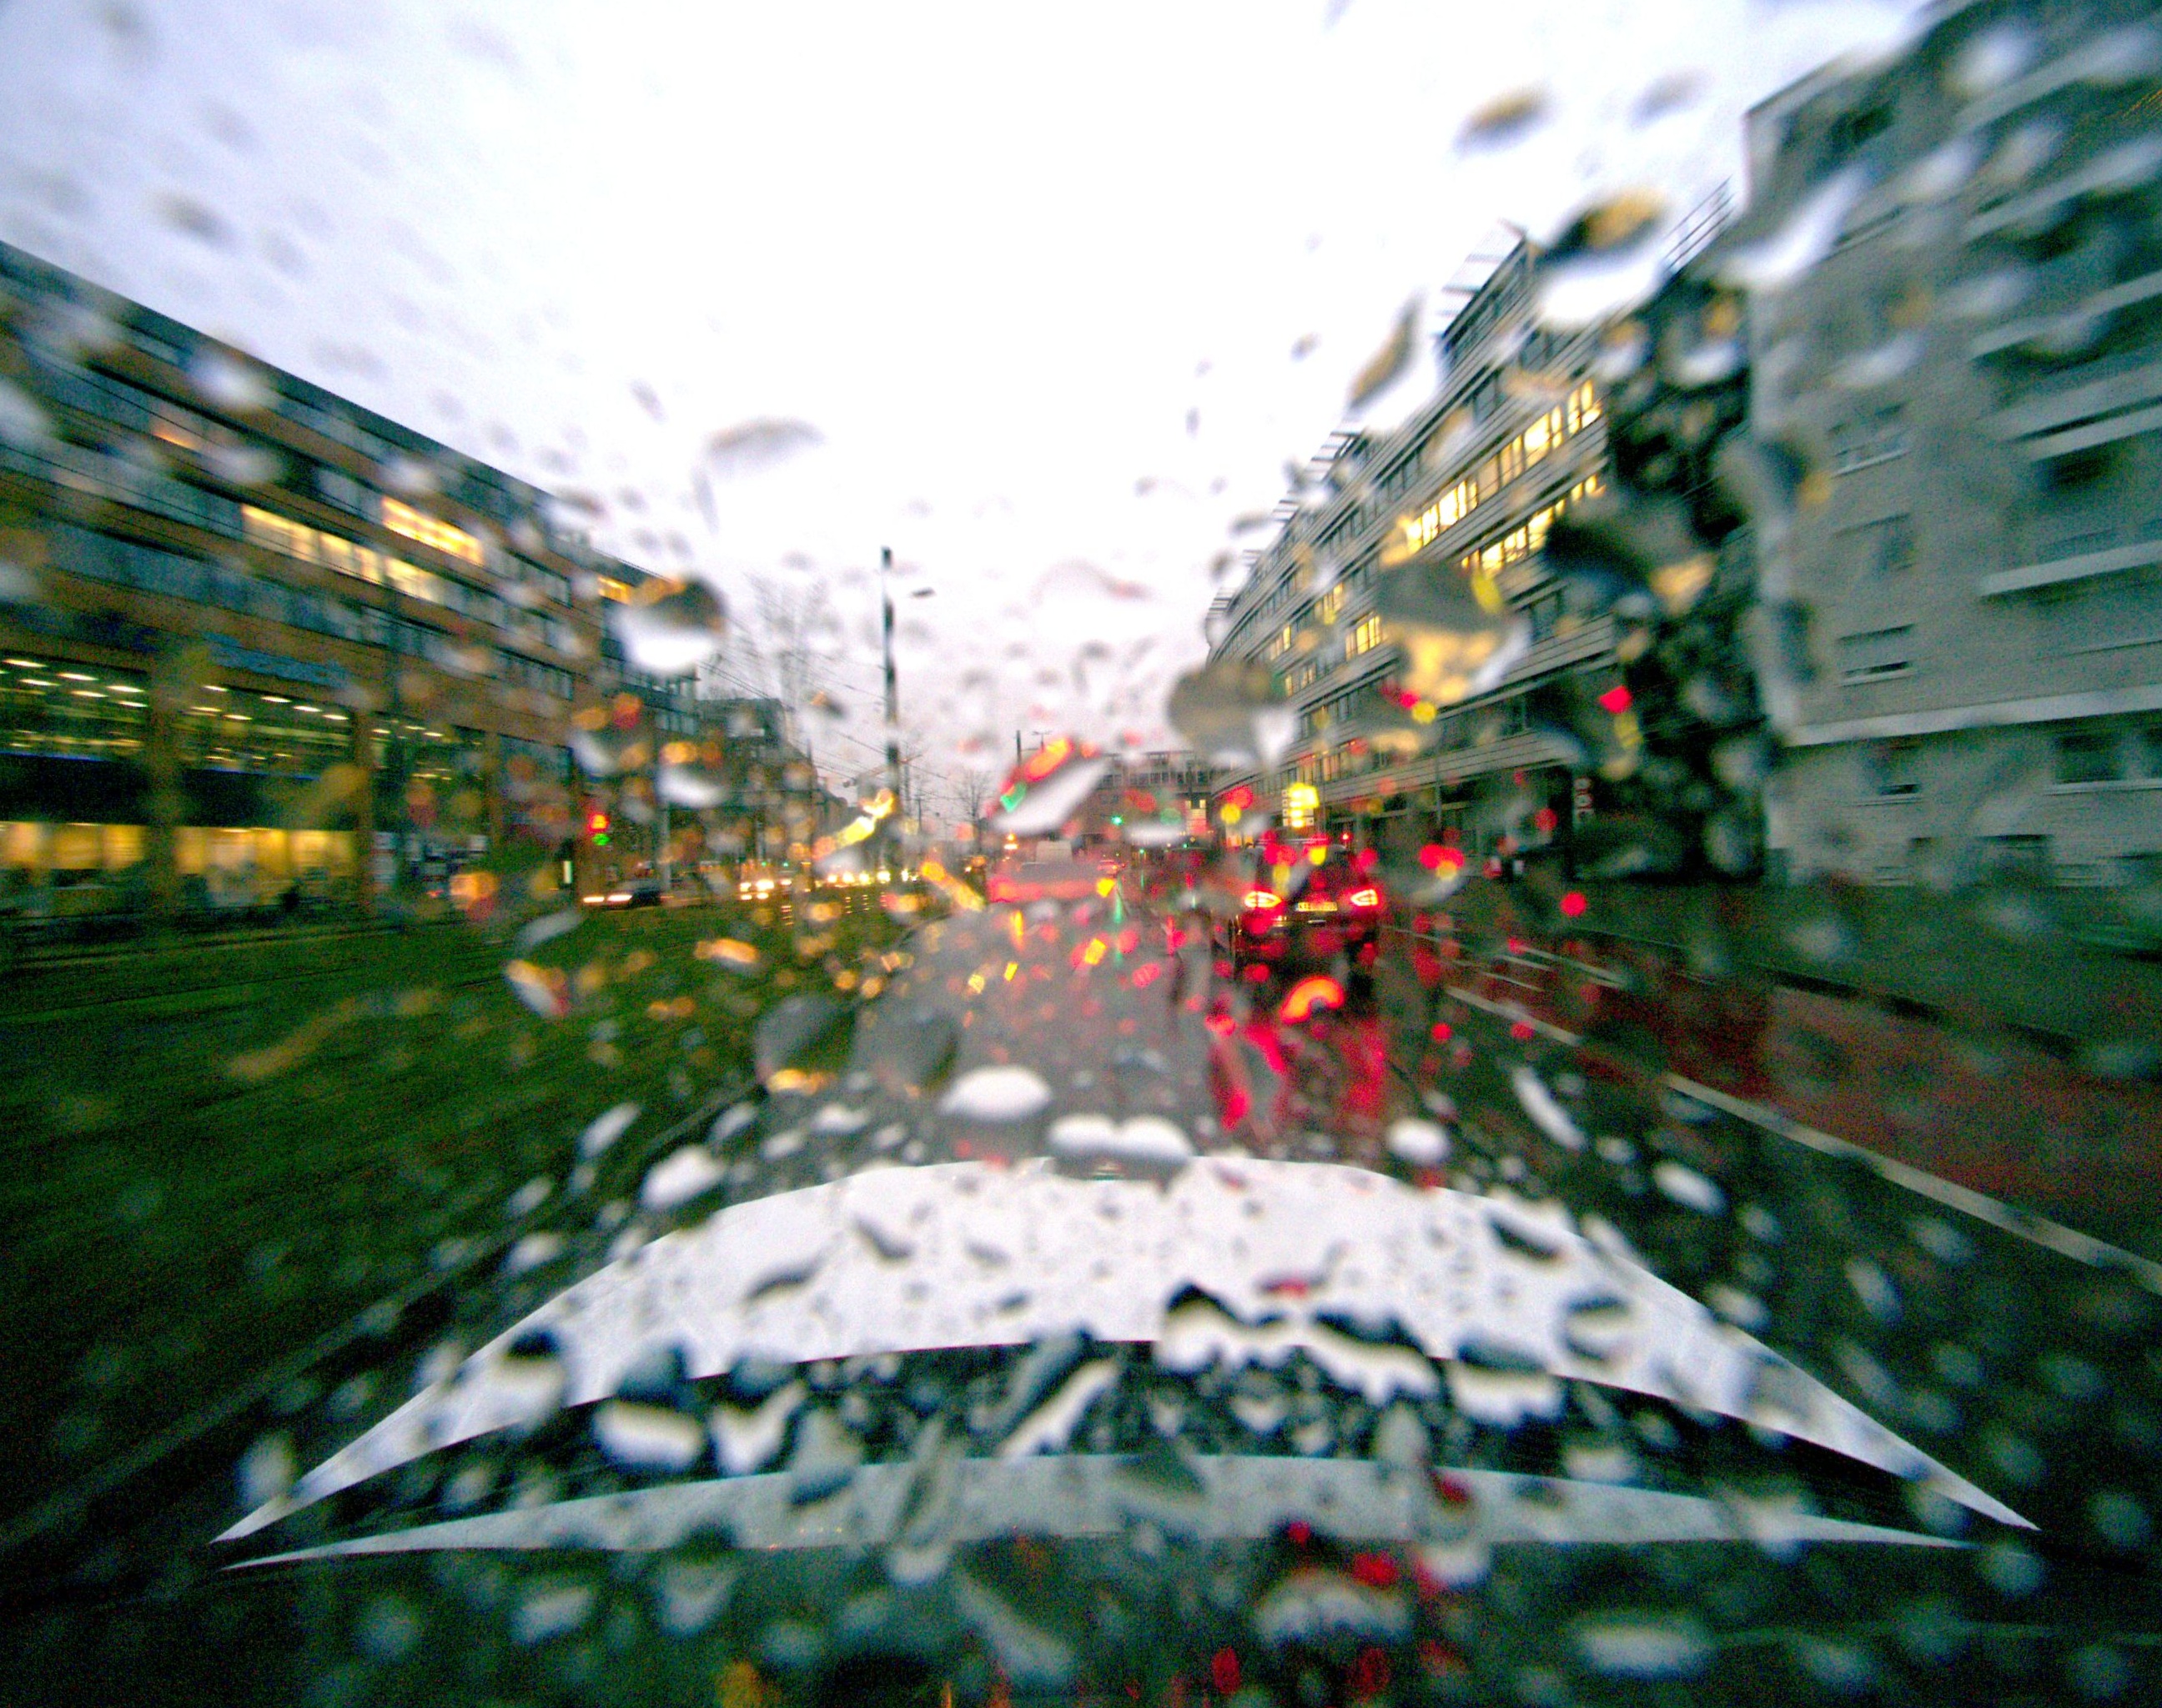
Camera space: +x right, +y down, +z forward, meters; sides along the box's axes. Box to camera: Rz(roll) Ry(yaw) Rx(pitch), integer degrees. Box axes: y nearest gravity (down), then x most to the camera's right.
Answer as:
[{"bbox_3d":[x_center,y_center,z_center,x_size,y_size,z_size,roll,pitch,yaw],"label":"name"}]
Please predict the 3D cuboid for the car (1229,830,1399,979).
[{"bbox_3d":[3.165,0.621,11.834,1.665,1.779,4.006,-1,0,6],"label":"car"}]

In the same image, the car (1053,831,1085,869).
[{"bbox_3d":[-0.958,-0.267,66.399,2.348,2.827,6.355,-2,-1,-1],"label":"car"}]

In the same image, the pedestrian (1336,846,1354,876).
[{"bbox_3d":[14.734,0.393,45.469,0.723,1.625,0.903,-2,-1,1],"label":"pedestrian"}]

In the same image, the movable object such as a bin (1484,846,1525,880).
[{"bbox_3d":[16.701,0.357,32.167,0.844,1.294,1.165,-4,0,-9],"label":"movable object such as a bin"}]

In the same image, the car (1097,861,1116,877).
[{"bbox_3d":[2.194,1.289,70.136,1.505,1.306,3.043,-2,0,3],"label":"car"}]

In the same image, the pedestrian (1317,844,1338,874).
[{"bbox_3d":[13.820,0.280,45.707,0.790,1.686,1.069,-2,-1,1],"label":"pedestrian"}]

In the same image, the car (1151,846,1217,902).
[{"bbox_3d":[3.628,0.668,29.420,1.837,1.806,4.487,-2,0,1],"label":"car"}]

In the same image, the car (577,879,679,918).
[{"bbox_3d":[-19.604,1.900,35.450,1.805,1.442,3.964,-2,-1,7],"label":"car"}]

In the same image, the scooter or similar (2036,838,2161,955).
[{"bbox_3d":[11.758,0.441,9.039,0.663,1.227,1.562,-3,-2,14],"label":"scooter or similar"}]

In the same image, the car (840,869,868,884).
[{"bbox_3d":[-23.304,2.263,83.689,1.990,1.449,4.307,-2,-1,-5],"label":"car"}]

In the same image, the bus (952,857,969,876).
[{"bbox_3d":[-23.369,2.447,157.984,2.825,3.372,7.968,-2,-1,-11],"label":"bus"}]

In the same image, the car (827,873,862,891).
[{"bbox_3d":[-20.697,2.414,71.474,1.722,1.393,4.201,-2,-1,2],"label":"car"}]

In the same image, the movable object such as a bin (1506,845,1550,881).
[{"bbox_3d":[16.932,0.342,30.857,0.844,1.294,1.165,-4,0,-9],"label":"movable object such as a bin"}]

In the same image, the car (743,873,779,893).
[{"bbox_3d":[-24.551,2.188,62.529,1.503,1.402,3.544,-2,-1,-3],"label":"car"}]

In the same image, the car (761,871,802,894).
[{"bbox_3d":[-19.424,1.834,52.928,1.503,1.373,3.647,-2,-1,-4],"label":"car"}]

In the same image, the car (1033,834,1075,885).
[{"bbox_3d":[-1.447,0.292,42.859,1.989,2.427,5.968,-2,-1,-2],"label":"car"}]

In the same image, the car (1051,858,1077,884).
[{"bbox_3d":[-1.038,1.039,49.611,1.514,1.520,3.467,-2,-1,-2],"label":"car"}]

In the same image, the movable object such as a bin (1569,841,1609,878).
[{"bbox_3d":[18.747,0.217,30.045,0.728,1.305,0.961,-4,0,-9],"label":"movable object such as a bin"}]

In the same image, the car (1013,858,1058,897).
[{"bbox_3d":[-1.887,0.940,34.575,1.633,1.496,3.685,-2,0,0],"label":"car"}]
